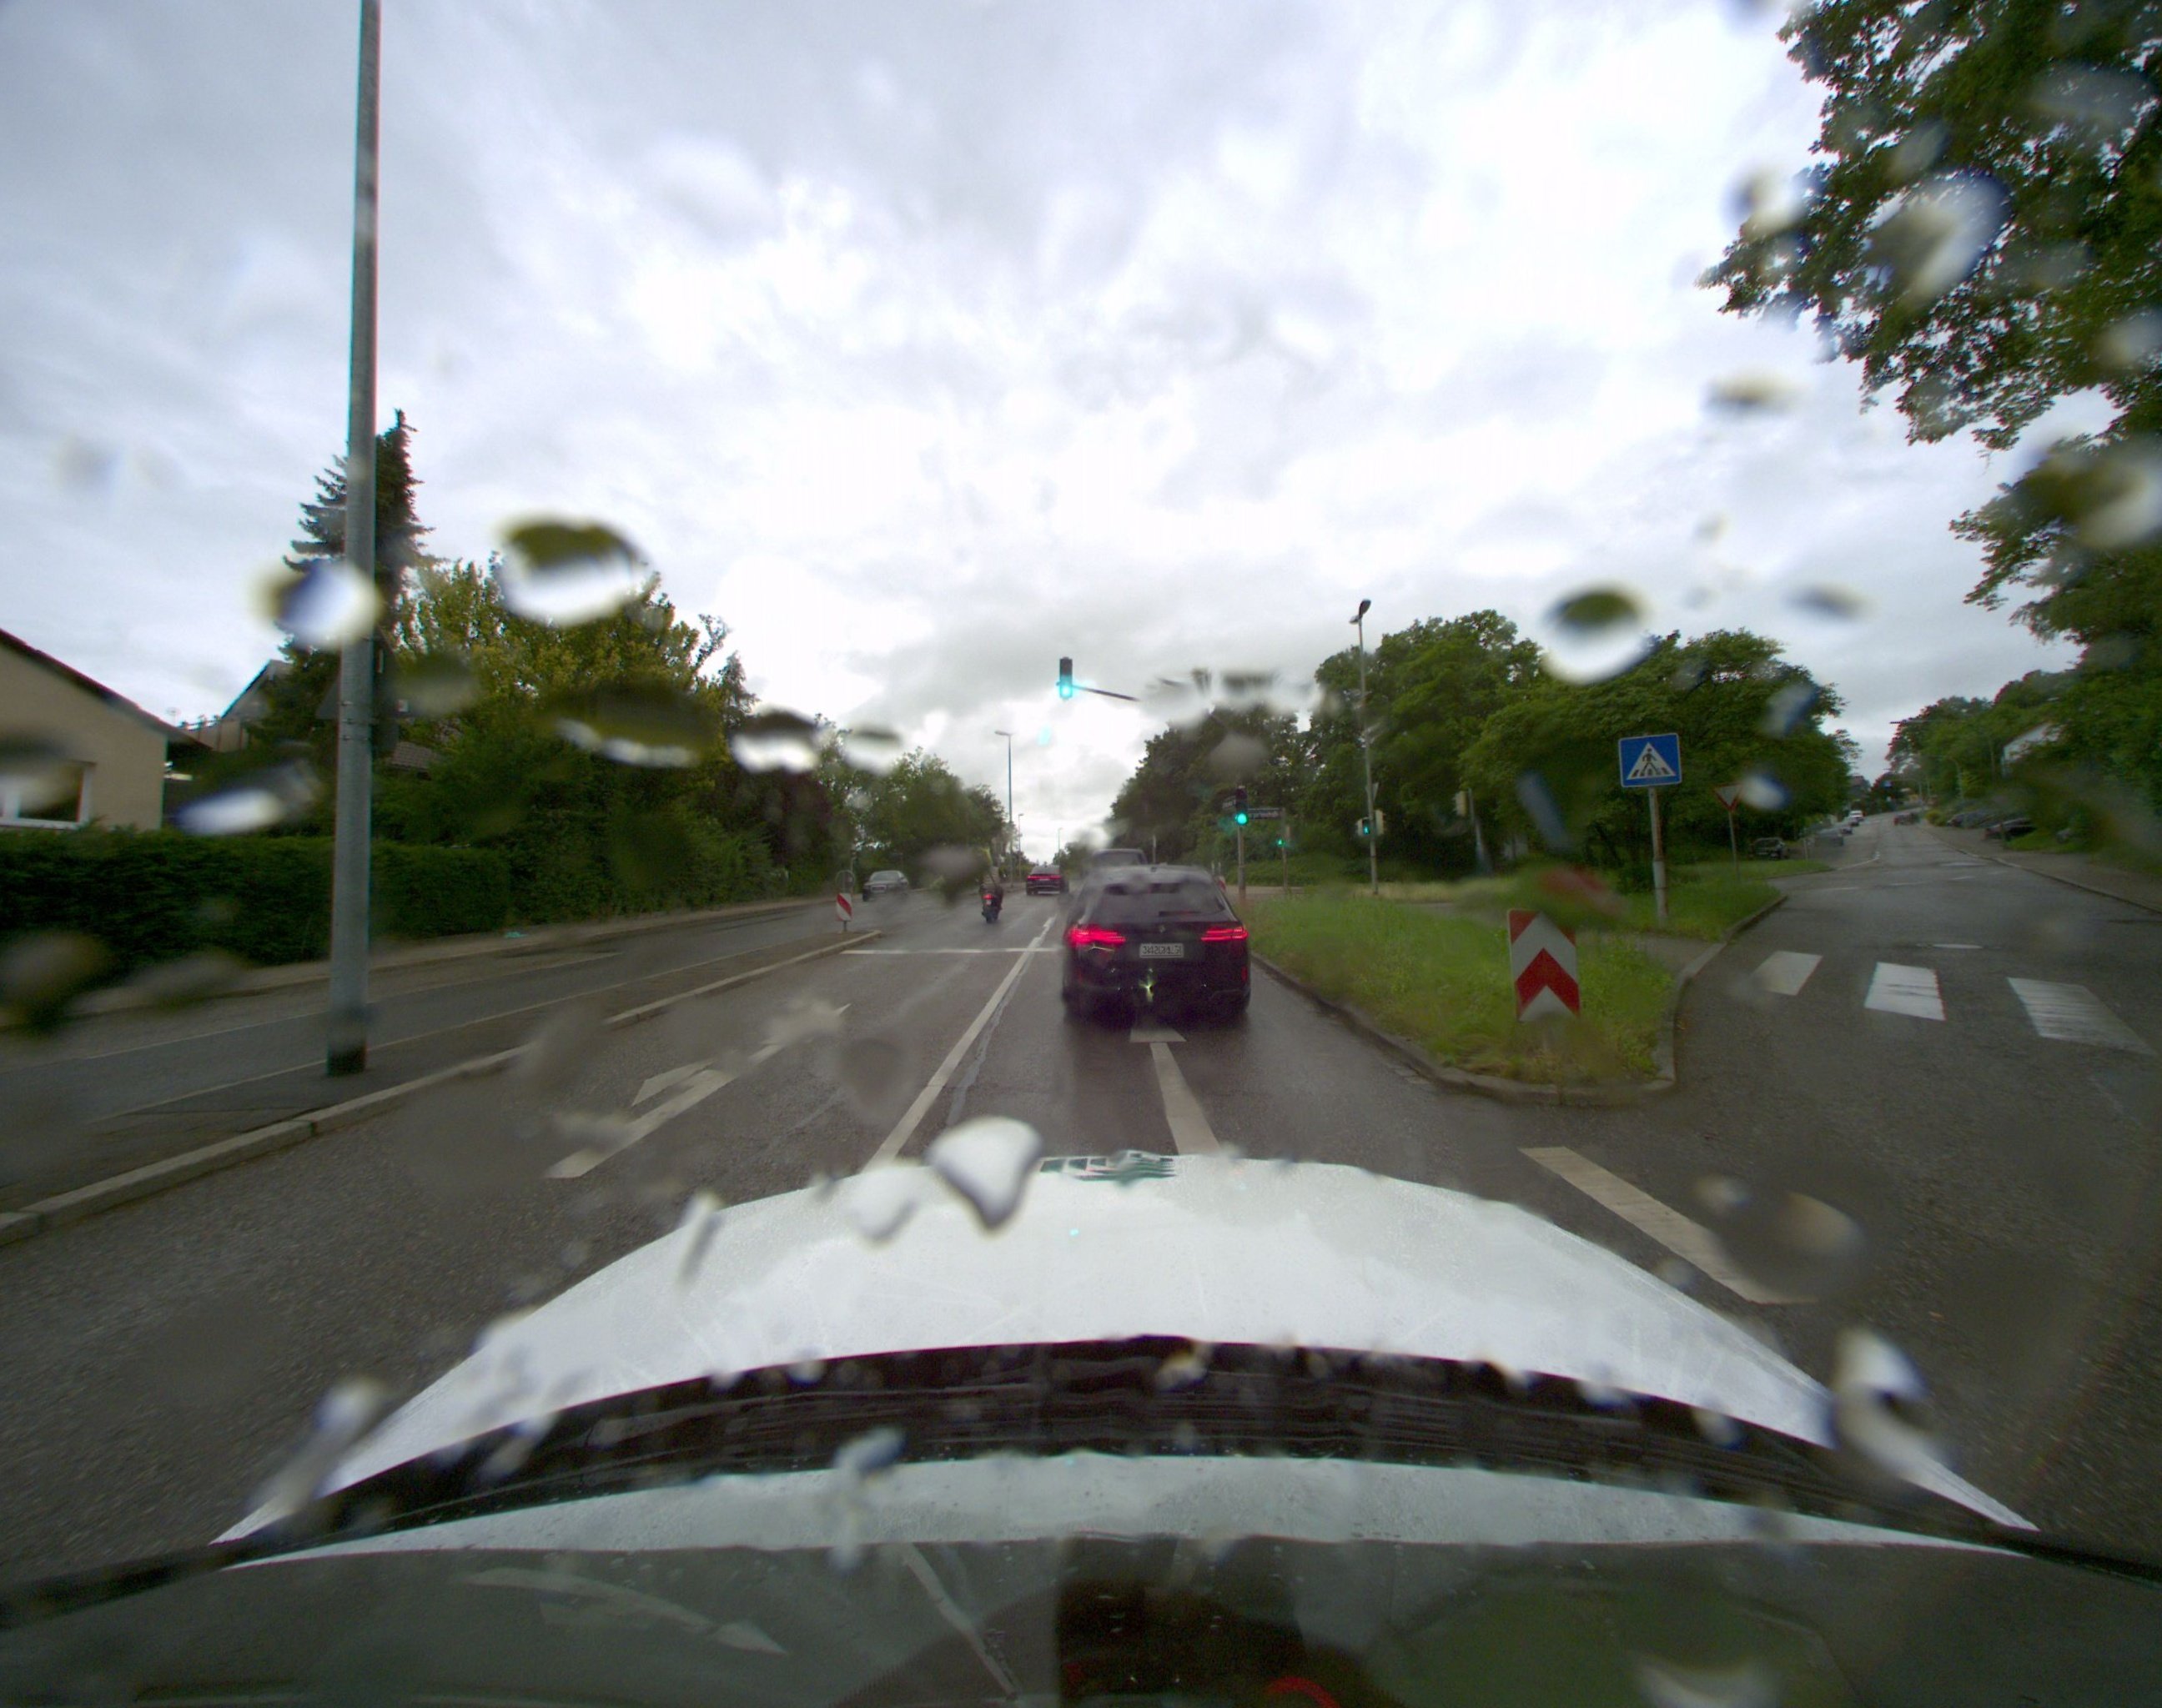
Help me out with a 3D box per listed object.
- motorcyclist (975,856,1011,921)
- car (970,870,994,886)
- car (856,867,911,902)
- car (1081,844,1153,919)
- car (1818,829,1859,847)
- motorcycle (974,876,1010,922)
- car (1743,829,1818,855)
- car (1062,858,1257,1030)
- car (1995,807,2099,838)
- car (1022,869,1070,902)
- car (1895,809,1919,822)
[{"bbox_3d":[-2.289,0.888,21.225,0.842,1.647,0.468,-1,-1,1],"label":"motorcyclist"},{"bbox_3d":[-9.952,2.416,82.200,1.722,1.485,4.157,-3,-1,1],"label":"car"},{"bbox_3d":[-9.557,1.430,39.677,1.859,1.492,3.829,-2,0,-3],"label":"car"},{"bbox_3d":[0.943,0.675,21.882,1.760,1.810,3.907,-1,0,2],"label":"car"},{"bbox_3d":[66.187,-1.365,71.165,4.014,1.446,1.686,0,-1,-32],"label":"car"},{"bbox_3d":[-2.298,1.148,21.157,0.738,1.119,1.427,0,0,2],"label":"motorcycle"},{"bbox_3d":[45.902,-0.788,53.463,3.994,1.571,1.819,-2,-1,-15],"label":"car"},{"bbox_3d":[0.770,0.833,9.243,1.758,1.536,3.674,-1,0,2],"label":"car"},{"bbox_3d":[60.212,-1.940,50.862,1.969,1.648,3.950,-1,-1,-45],"label":"car"},{"bbox_3d":[-1.656,1.472,39.735,2.007,1.415,4.488,-1,0,2],"label":"car"},{"bbox_3d":[108.928,-5.010,107.428,1.921,1.458,4.242,-1,-1,41],"label":"car"}]
